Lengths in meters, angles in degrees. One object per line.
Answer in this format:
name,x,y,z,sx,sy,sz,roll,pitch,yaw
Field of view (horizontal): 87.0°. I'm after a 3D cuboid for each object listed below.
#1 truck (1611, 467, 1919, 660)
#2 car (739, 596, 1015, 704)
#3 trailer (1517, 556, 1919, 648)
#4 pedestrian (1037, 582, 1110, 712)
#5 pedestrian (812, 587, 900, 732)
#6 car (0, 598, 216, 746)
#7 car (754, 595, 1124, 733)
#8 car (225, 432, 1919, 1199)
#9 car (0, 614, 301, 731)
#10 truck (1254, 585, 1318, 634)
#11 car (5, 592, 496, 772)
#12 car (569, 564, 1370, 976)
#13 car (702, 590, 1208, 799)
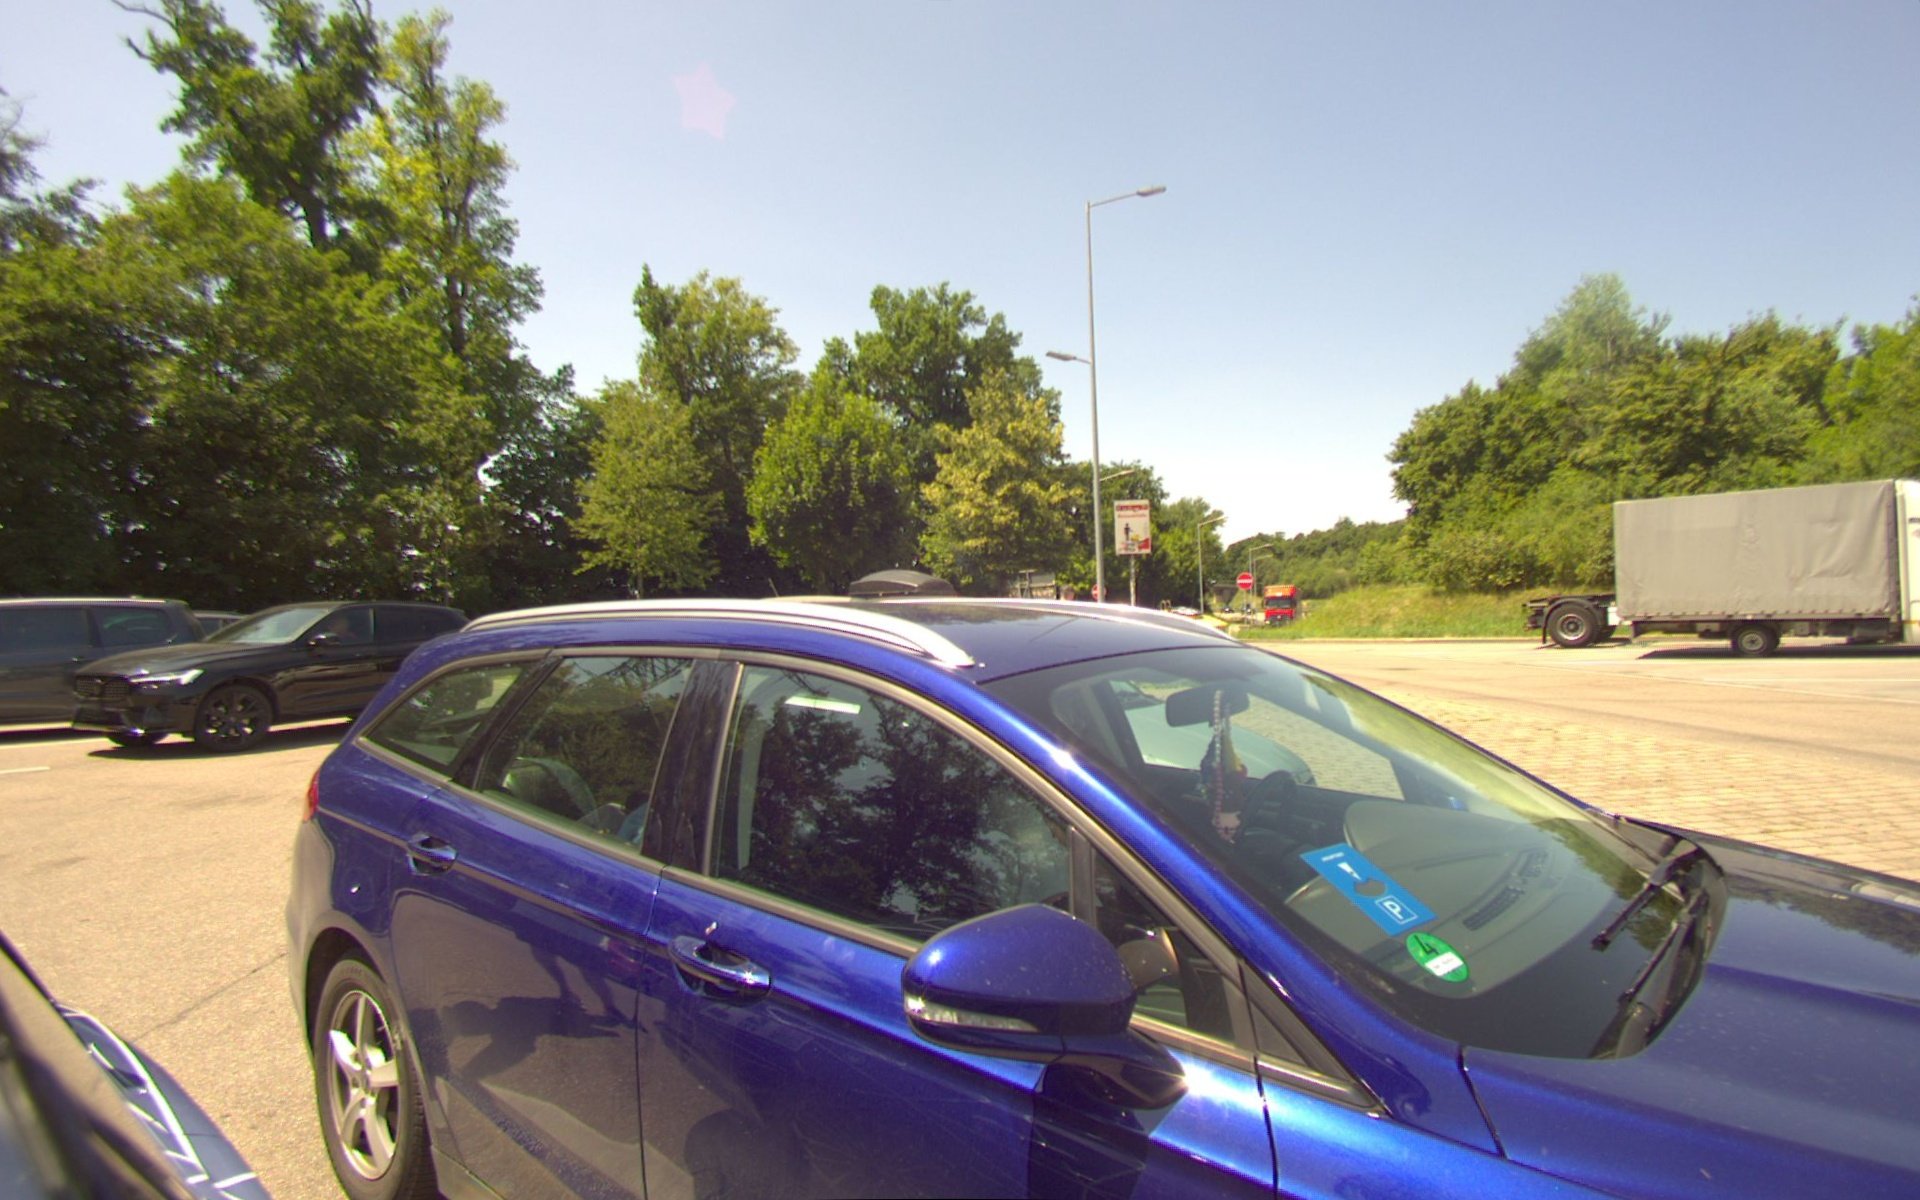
truck,16.834,-0.659,18.969,7.295,3.259,2.709,-4,-1,43
car,-1.470,0.827,16.862,4.485,1.562,1.756,-3,-1,36
trailer,17.260,0.121,23.397,7.295,1.701,2.235,-4,-1,43
pedestrian,1.599,0.641,14.208,0.674,1.746,0.824,-2,-1,34
pedestrian,-1.269,0.697,12.306,0.819,1.676,0.678,-1,-1,-32
car,-11.934,0.862,12.304,4.553,1.725,1.741,0,-1,-41
car,-0.378,0.776,12.762,4.485,1.437,1.756,-3,-1,36
car,0.262,0.663,2.142,4.490,1.502,1.851,-3,0,40
car,-12.589,1.007,15.468,1.687,1.515,3.943,-1,0,43
truck,30.610,0.772,94.370,3.118,4.150,15.256,-1,0,27
car,-8.141,0.802,12.238,1.985,1.725,4.587,-1,0,20
car,-0.250,0.696,5.840,4.490,1.511,1.754,-3,-1,40
car,-0.237,0.751,9.215,4.490,1.437,1.754,-3,-1,40
